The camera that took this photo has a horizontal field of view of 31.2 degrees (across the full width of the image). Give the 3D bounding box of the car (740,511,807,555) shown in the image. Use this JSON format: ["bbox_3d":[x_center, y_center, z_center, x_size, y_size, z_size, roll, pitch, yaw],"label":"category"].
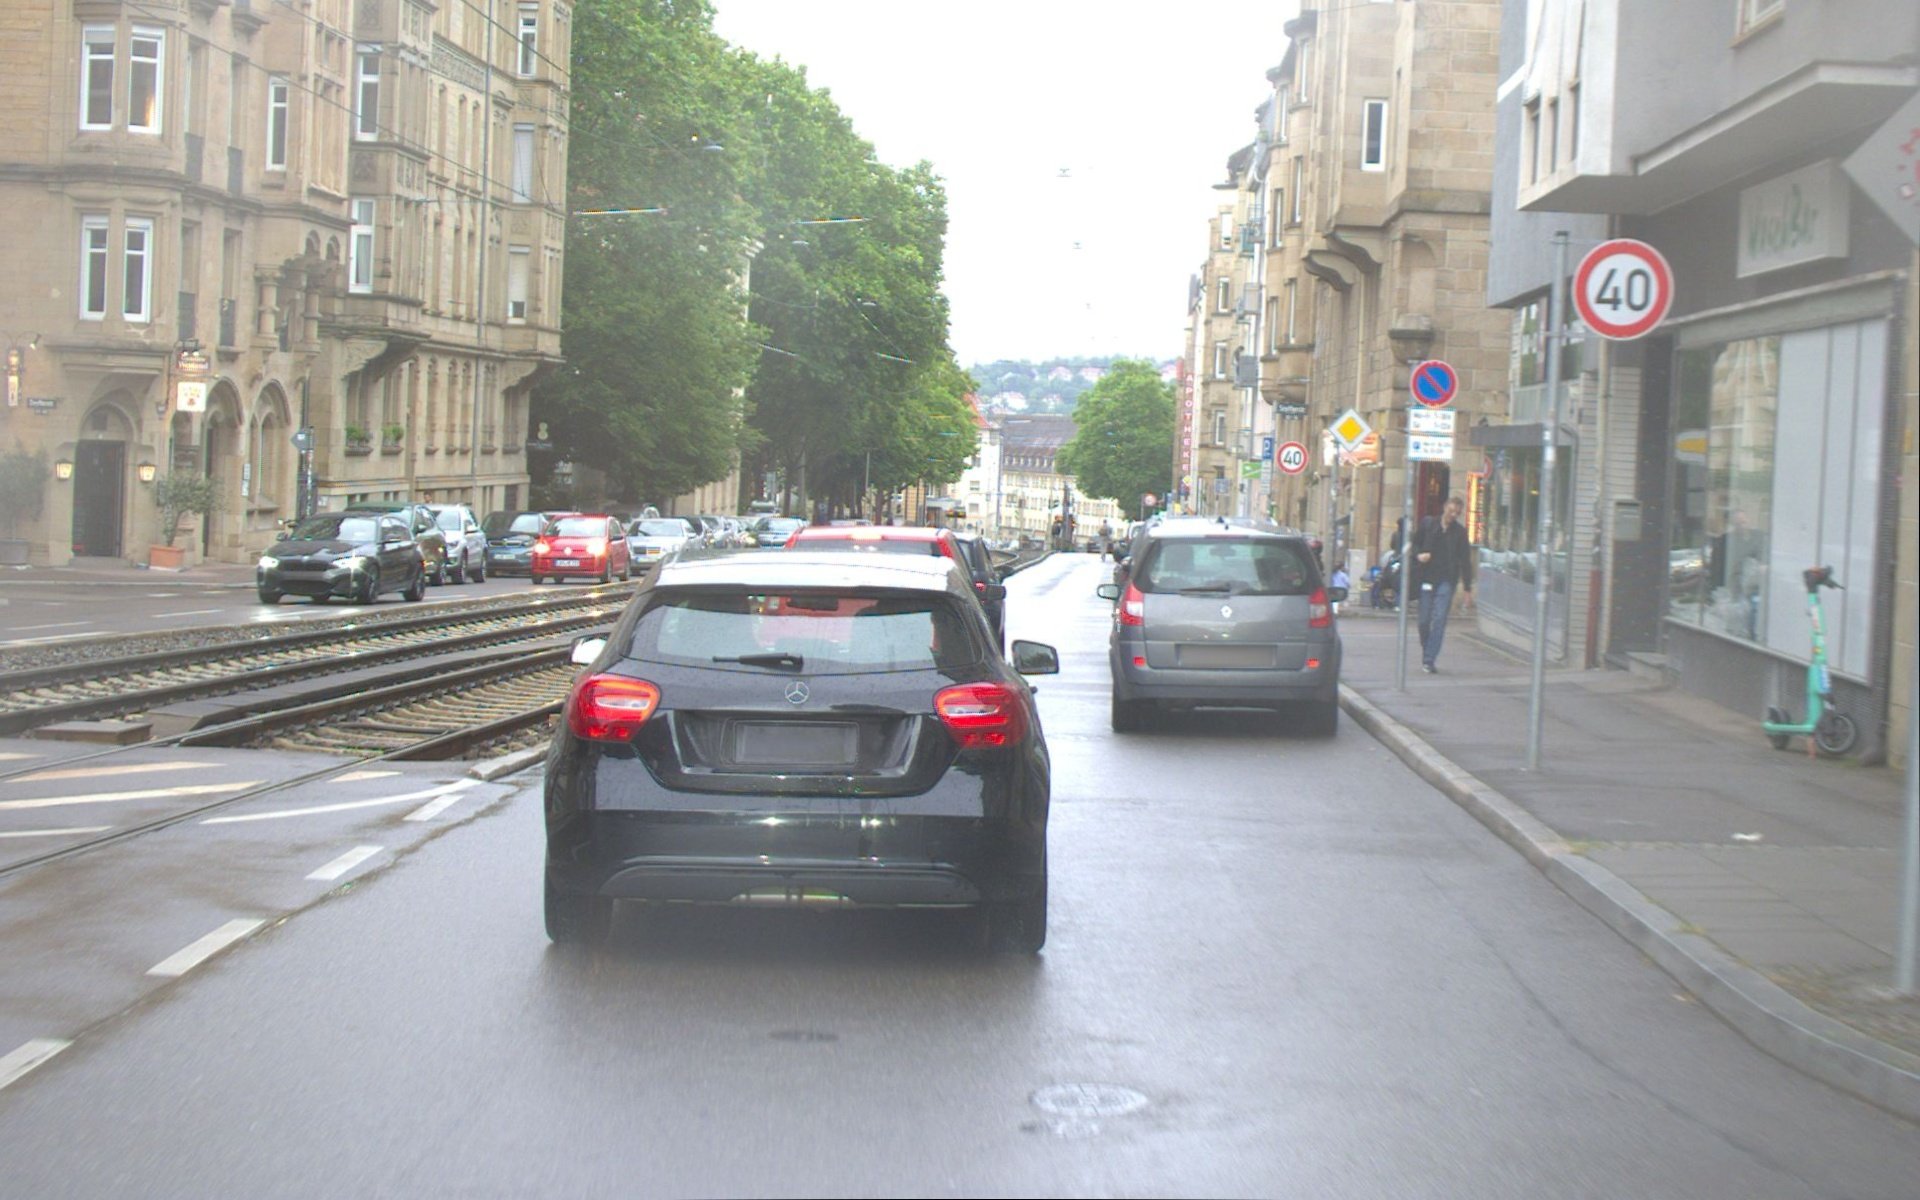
[{"bbox_3d":[-6.092,-2.207,112.585,1.695,1.384,3.481,1,1,4],"label":"car"}]

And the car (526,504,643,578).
[{"bbox_3d":[-7.882,-1.256,72.418,1.681,1.491,3.518,1,1,6],"label":"car"}]

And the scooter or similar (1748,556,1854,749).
[{"bbox_3d":[5.509,0.328,22.553,0.395,1.212,1.107,2,2,1],"label":"scooter or similar"}]

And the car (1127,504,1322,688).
[{"bbox_3d":[2.536,-0.084,33.721,1.683,1.664,4.122,1,1,2],"label":"car"}]

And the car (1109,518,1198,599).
[{"bbox_3d":[3.708,-0.828,66.223,1.622,1.479,4.000,1,1,3],"label":"car"}]

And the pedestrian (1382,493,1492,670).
[{"bbox_3d":[4.885,-0.201,35.243,0.945,1.763,1.015,2,1,1],"label":"pedestrian"}]

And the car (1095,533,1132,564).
[{"bbox_3d":[6.896,-2.328,153.949,1.613,1.313,4.000,1,1,3],"label":"car"}]

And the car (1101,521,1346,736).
[{"bbox_3d":[2.058,0.157,27.745,1.765,1.553,4.745,1,1,3],"label":"car"}]

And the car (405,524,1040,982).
[{"bbox_3d":[-0.750,0.459,13.410,1.867,1.447,4.000,2,2,4],"label":"car"}]

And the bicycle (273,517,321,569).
[{"bbox_3d":[-13.049,-1.124,67.703,0.598,0.997,2.080,1,1,-2],"label":"bicycle"}]

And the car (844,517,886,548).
[{"bbox_3d":[-4.366,-3.125,158.742,1.569,1.408,3.481,1,1,4],"label":"car"}]

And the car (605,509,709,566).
[{"bbox_3d":[-7.481,-1.563,85.261,1.806,1.356,4.763,1,1,4],"label":"car"}]

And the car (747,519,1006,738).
[{"bbox_3d":[-0.558,0.151,26.078,1.649,1.447,4.000,2,2,2],"label":"car"}]

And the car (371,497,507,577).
[{"bbox_3d":[-10.866,-1.335,71.955,1.806,1.591,4.525,1,1,4],"label":"car"}]

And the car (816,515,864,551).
[{"bbox_3d":[-4.901,-2.755,141.200,1.569,1.408,3.481,1,1,4],"label":"car"}]

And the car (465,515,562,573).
[{"bbox_3d":[-10.572,-1.340,81.604,1.569,1.312,3.481,1,1,4],"label":"car"}]

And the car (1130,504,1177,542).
[{"bbox_3d":[6.881,-2.747,122.379,1.613,1.313,4.000,1,1,3],"label":"car"}]

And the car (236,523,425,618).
[{"bbox_3d":[-9.719,-0.490,53.390,1.948,1.392,4.274,1,1,3],"label":"car"}]
